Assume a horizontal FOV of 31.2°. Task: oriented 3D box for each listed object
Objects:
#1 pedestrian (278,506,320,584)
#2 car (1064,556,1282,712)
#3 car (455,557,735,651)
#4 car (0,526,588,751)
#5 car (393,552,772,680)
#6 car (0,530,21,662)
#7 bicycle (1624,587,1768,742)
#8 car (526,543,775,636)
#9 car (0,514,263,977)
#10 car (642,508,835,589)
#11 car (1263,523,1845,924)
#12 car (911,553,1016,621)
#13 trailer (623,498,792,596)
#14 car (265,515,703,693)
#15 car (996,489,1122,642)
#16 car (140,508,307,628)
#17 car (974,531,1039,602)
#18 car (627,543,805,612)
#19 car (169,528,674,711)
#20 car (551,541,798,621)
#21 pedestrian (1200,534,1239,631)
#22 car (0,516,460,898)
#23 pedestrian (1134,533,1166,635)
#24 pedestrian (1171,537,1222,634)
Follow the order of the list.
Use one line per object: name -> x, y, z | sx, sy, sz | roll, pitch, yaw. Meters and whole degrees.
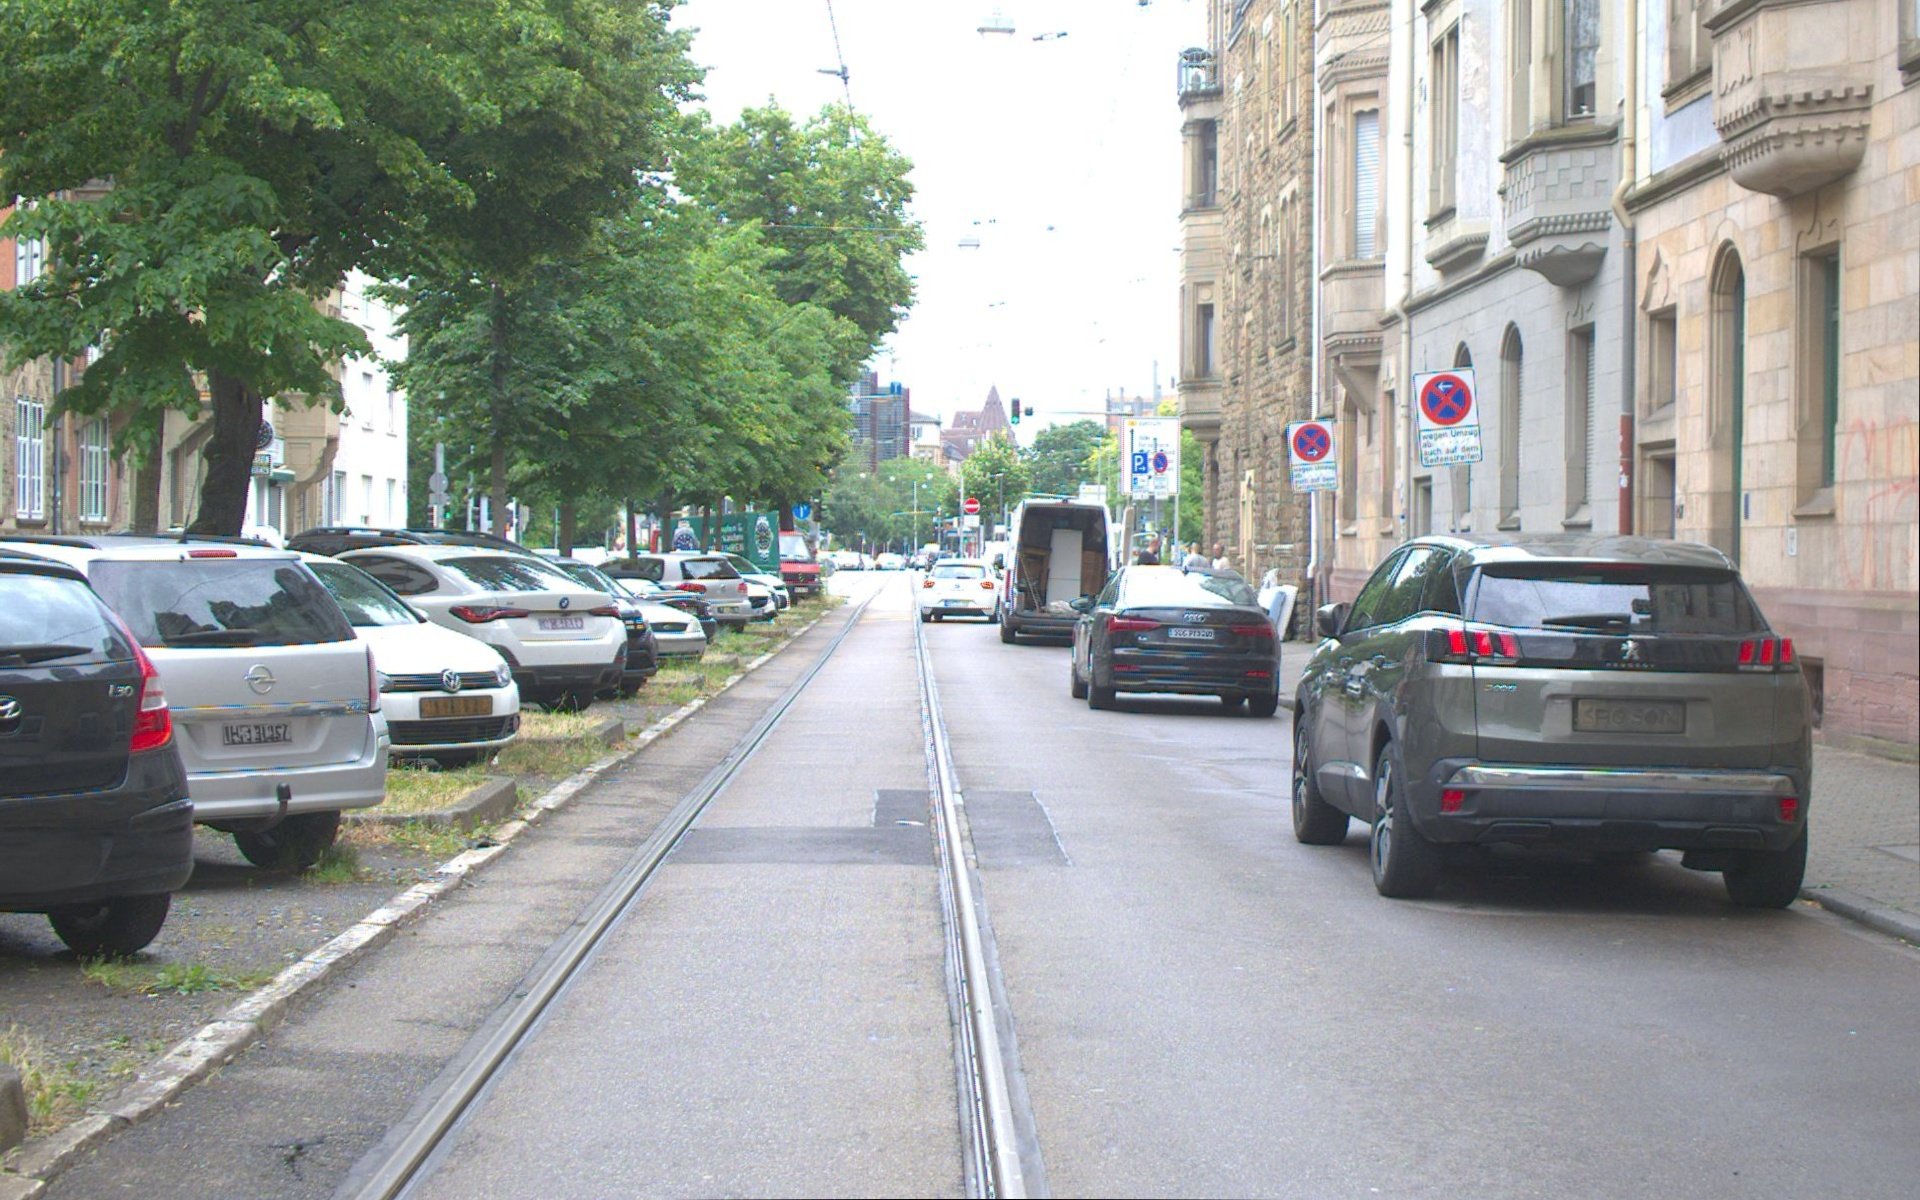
pedestrian -> -14.984, -1.241, 77.992 | 0.797, 1.760, 0.900 | 0, 1, -2
car -> 2.117, 0.296, 35.520 | 1.801, 1.433, 5.196 | 1, 1, -1
car -> -5.080, 0.038, 47.565 | 3.960, 1.198, 1.664 | 2, 1, 43
car -> -4.549, 0.206, 22.972 | 4.127, 1.307, 1.858 | 2, 1, 44
car -> -4.488, 0.159, 40.414 | 4.664, 1.363, 1.753 | 2, 1, 42
car -> -12.599, -0.050, 40.825 | 1.740, 1.621, 4.554 | 1, 0, -1
bicycle -> 5.781, 0.485, 27.103 | 0.611, 1.123, 1.916 | 3, 1, -1
car -> -5.235, -0.193, 57.918 | 4.114, 1.479, 1.793 | 2, 1, 40
car -> -4.419, 0.420, 12.447 | 3.997, 1.480, 1.771 | 2, 1, 45
car -> -5.608, -1.313, 86.658 | 4.763, 1.967, 1.955 | 1, 1, 38
car -> 2.640, 0.463, 16.429 | 1.759, 1.616, 4.695 | 1, 1, -2
car -> 0.103, -0.312, 77.059 | 1.783, 1.467, 4.009 | 1, 1, 8
trailer -> -6.156, -1.299, 83.753 | 3.666, 2.336, 1.927 | 1, 1, 32
car -> -4.694, 0.005, 33.492 | 4.529, 1.627, 1.761 | 1, 1, 43
car -> 1.741, -0.649, 62.726 | 2.013, 2.540, 7.017 | 2, 1, 0
car -> -12.589, -0.548, 59.054 | 1.881, 1.945, 5.094 | 1, 0, -1
car -> 1.324, -0.964, 97.511 | 1.782, 1.956, 4.382 | 1, 1, 1
car -> -5.404, -0.514, 75.955 | 3.860, 1.458, 1.685 | 1, 1, 42
car -> -4.800, 0.127, 30.274 | 4.538, 1.485, 2.031 | 1, 1, 43
car -> -5.478, -0.379, 65.590 | 4.684, 1.430, 1.894 | 1, 1, 39
pedestrian -> 4.654, -0.315, 61.661 | 0.507, 1.711, 0.581 | -2, 1, -10
car -> -4.424, 0.376, 15.709 | 1.858, 1.488, 4.562 | 1, 1, -45
pedestrian -> 3.398, -0.292, 61.553 | 0.499, 1.809, 0.803 | -2, 1, 1
pedestrian -> 4.188, -0.263, 60.815 | 0.702, 1.694, 0.493 | -2, 1, -28
